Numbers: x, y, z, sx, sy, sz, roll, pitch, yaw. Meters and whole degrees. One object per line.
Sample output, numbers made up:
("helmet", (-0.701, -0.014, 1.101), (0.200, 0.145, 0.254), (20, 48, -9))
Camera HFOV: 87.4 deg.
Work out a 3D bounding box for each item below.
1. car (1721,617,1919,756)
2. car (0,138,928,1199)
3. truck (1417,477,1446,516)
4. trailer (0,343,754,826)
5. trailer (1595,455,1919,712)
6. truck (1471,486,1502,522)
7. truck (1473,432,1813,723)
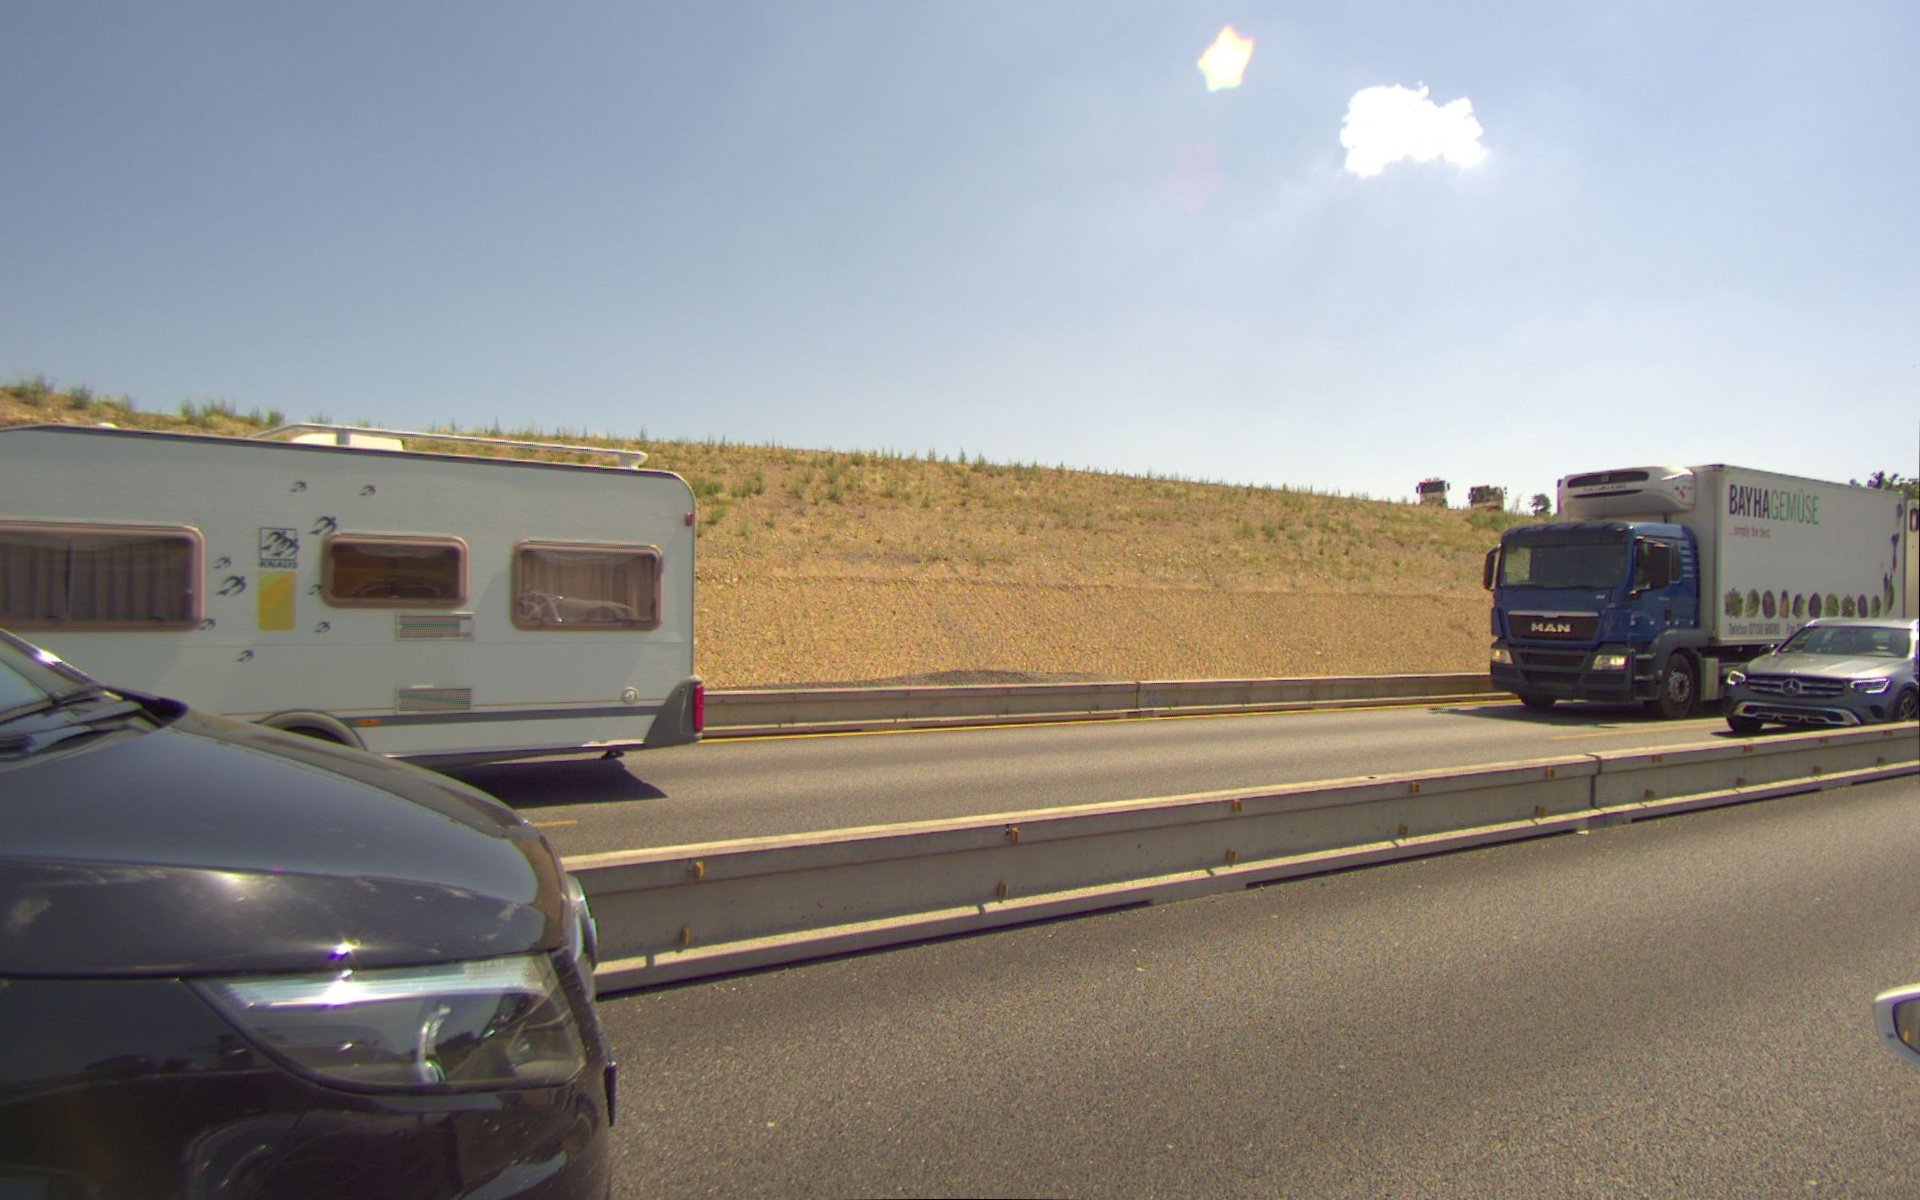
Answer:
("car", (12.676, 1.133, 14.004), (4.540, 1.635, 1.680), (2, 0, -31))
("car", (-2.858, 0.445, 0.921), (5.414, 1.876, 1.865), (1, 0, -30))
("truck", (46.855, -10.207, 99.944), (2.317, 2.937, 8.362), (2, 0, 24))
("trailer", (-5.071, -0.042, 7.196), (6.677, 2.722, 2.300), (1, -2, -31))
("trailer", (19.053, -0.074, 21.440), (15.349, 4.234, 2.491), (1, -2, -30))
("truck", (54.037, -9.780, 103.238), (2.259, 2.785, 8.901), (2, 0, 24))
("truck", (11.749, -0.235, 17.197), (5.840, 4.254, 2.481), (1, -2, -29))
